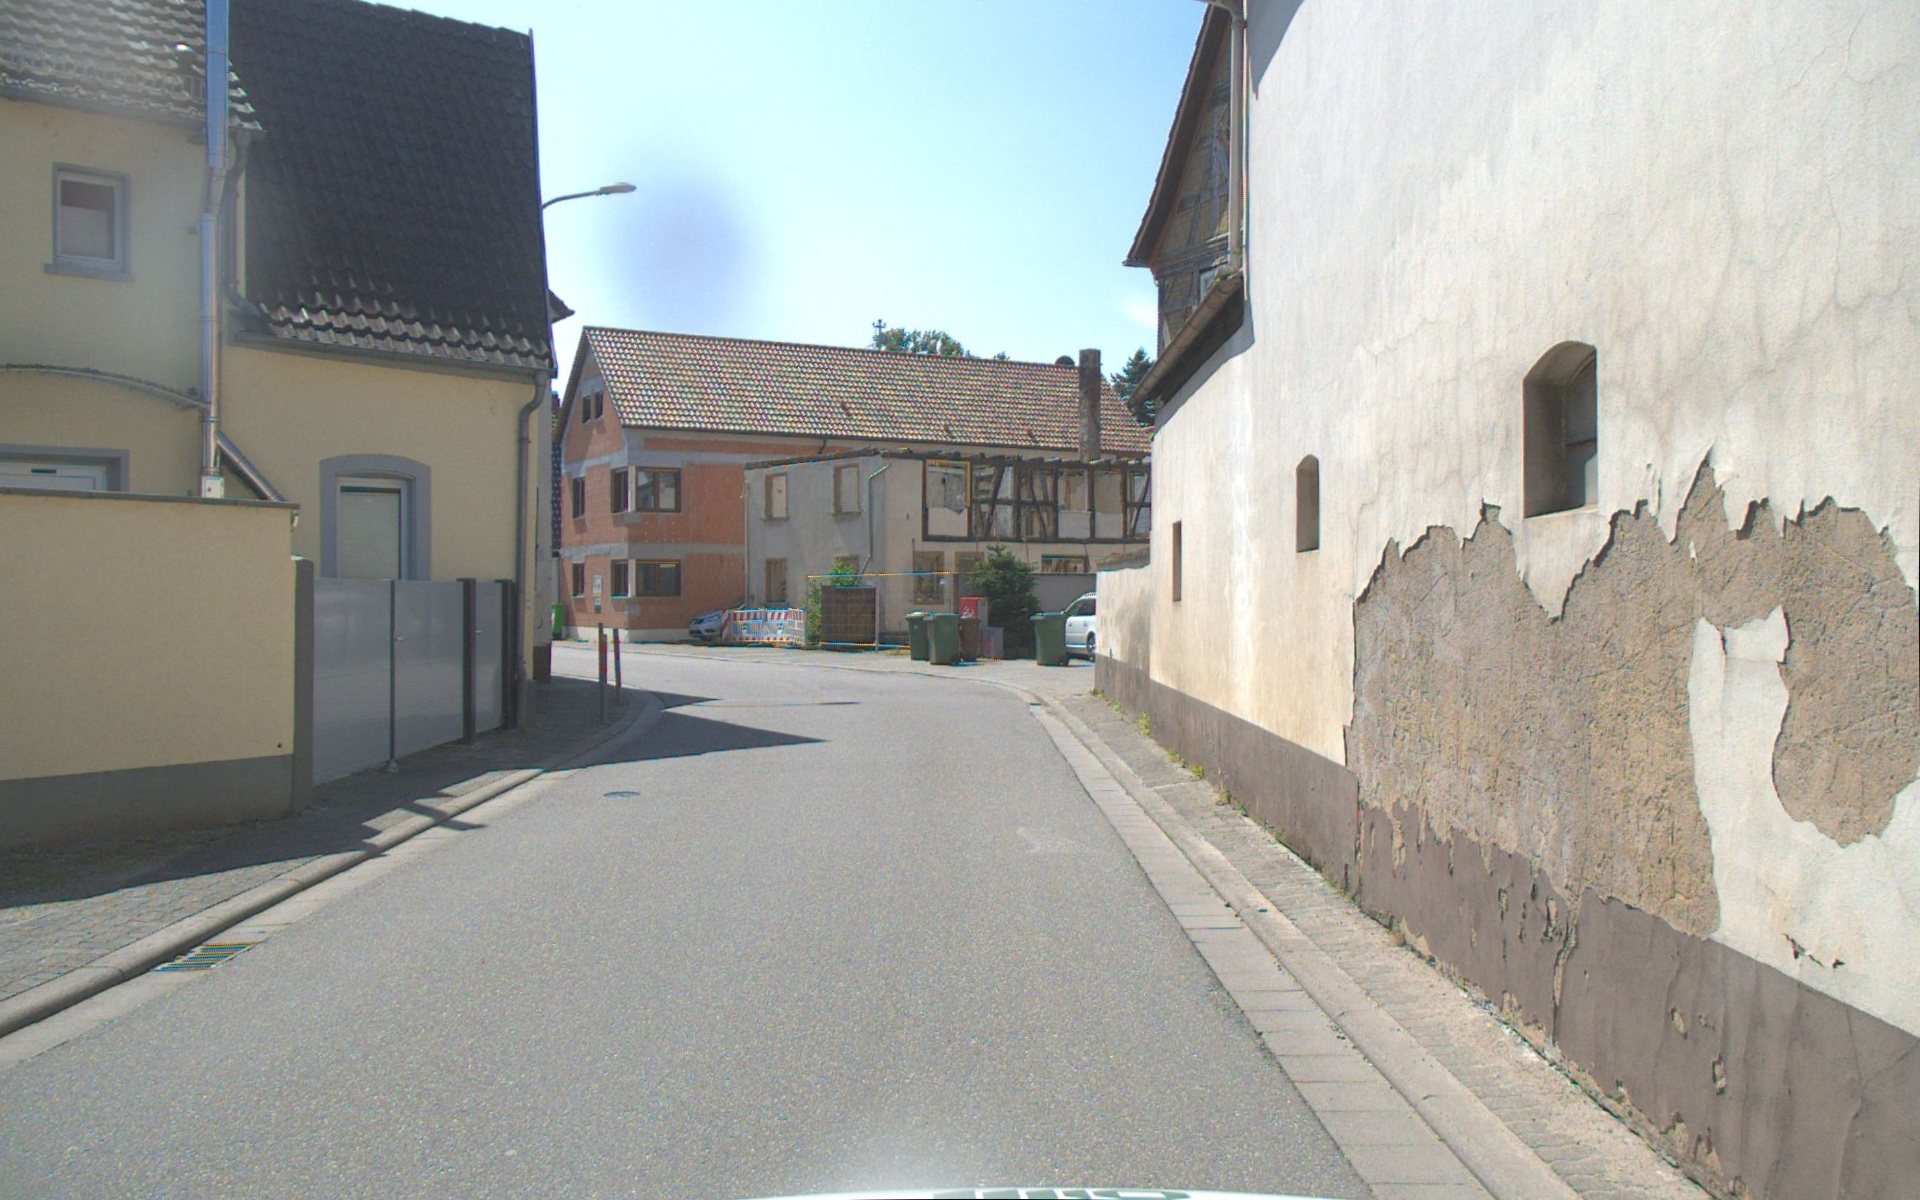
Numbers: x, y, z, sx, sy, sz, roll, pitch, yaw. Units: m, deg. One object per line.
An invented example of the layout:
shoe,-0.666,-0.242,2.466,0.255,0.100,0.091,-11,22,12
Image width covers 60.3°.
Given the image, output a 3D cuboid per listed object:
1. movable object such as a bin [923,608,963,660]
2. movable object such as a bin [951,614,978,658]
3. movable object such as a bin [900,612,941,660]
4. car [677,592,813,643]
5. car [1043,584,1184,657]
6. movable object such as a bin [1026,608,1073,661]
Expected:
movable object such as a bin,-0.363,0.731,35.843,0.677,1.111,0.633,0,0,-23
movable object such as a bin,0.102,0.802,37.201,0.459,0.987,0.492,0,0,-24
movable object such as a bin,-0.904,0.824,38.084,0.657,1.091,0.761,0,0,26
car,-6.993,0.542,53.918,4.058,1.533,1.846,-1,0,-37
car,3.404,0.423,37.566,1.781,1.555,4.278,0,0,-16
movable object such as a bin,1.880,0.723,34.807,0.711,1.100,0.749,0,0,-26
